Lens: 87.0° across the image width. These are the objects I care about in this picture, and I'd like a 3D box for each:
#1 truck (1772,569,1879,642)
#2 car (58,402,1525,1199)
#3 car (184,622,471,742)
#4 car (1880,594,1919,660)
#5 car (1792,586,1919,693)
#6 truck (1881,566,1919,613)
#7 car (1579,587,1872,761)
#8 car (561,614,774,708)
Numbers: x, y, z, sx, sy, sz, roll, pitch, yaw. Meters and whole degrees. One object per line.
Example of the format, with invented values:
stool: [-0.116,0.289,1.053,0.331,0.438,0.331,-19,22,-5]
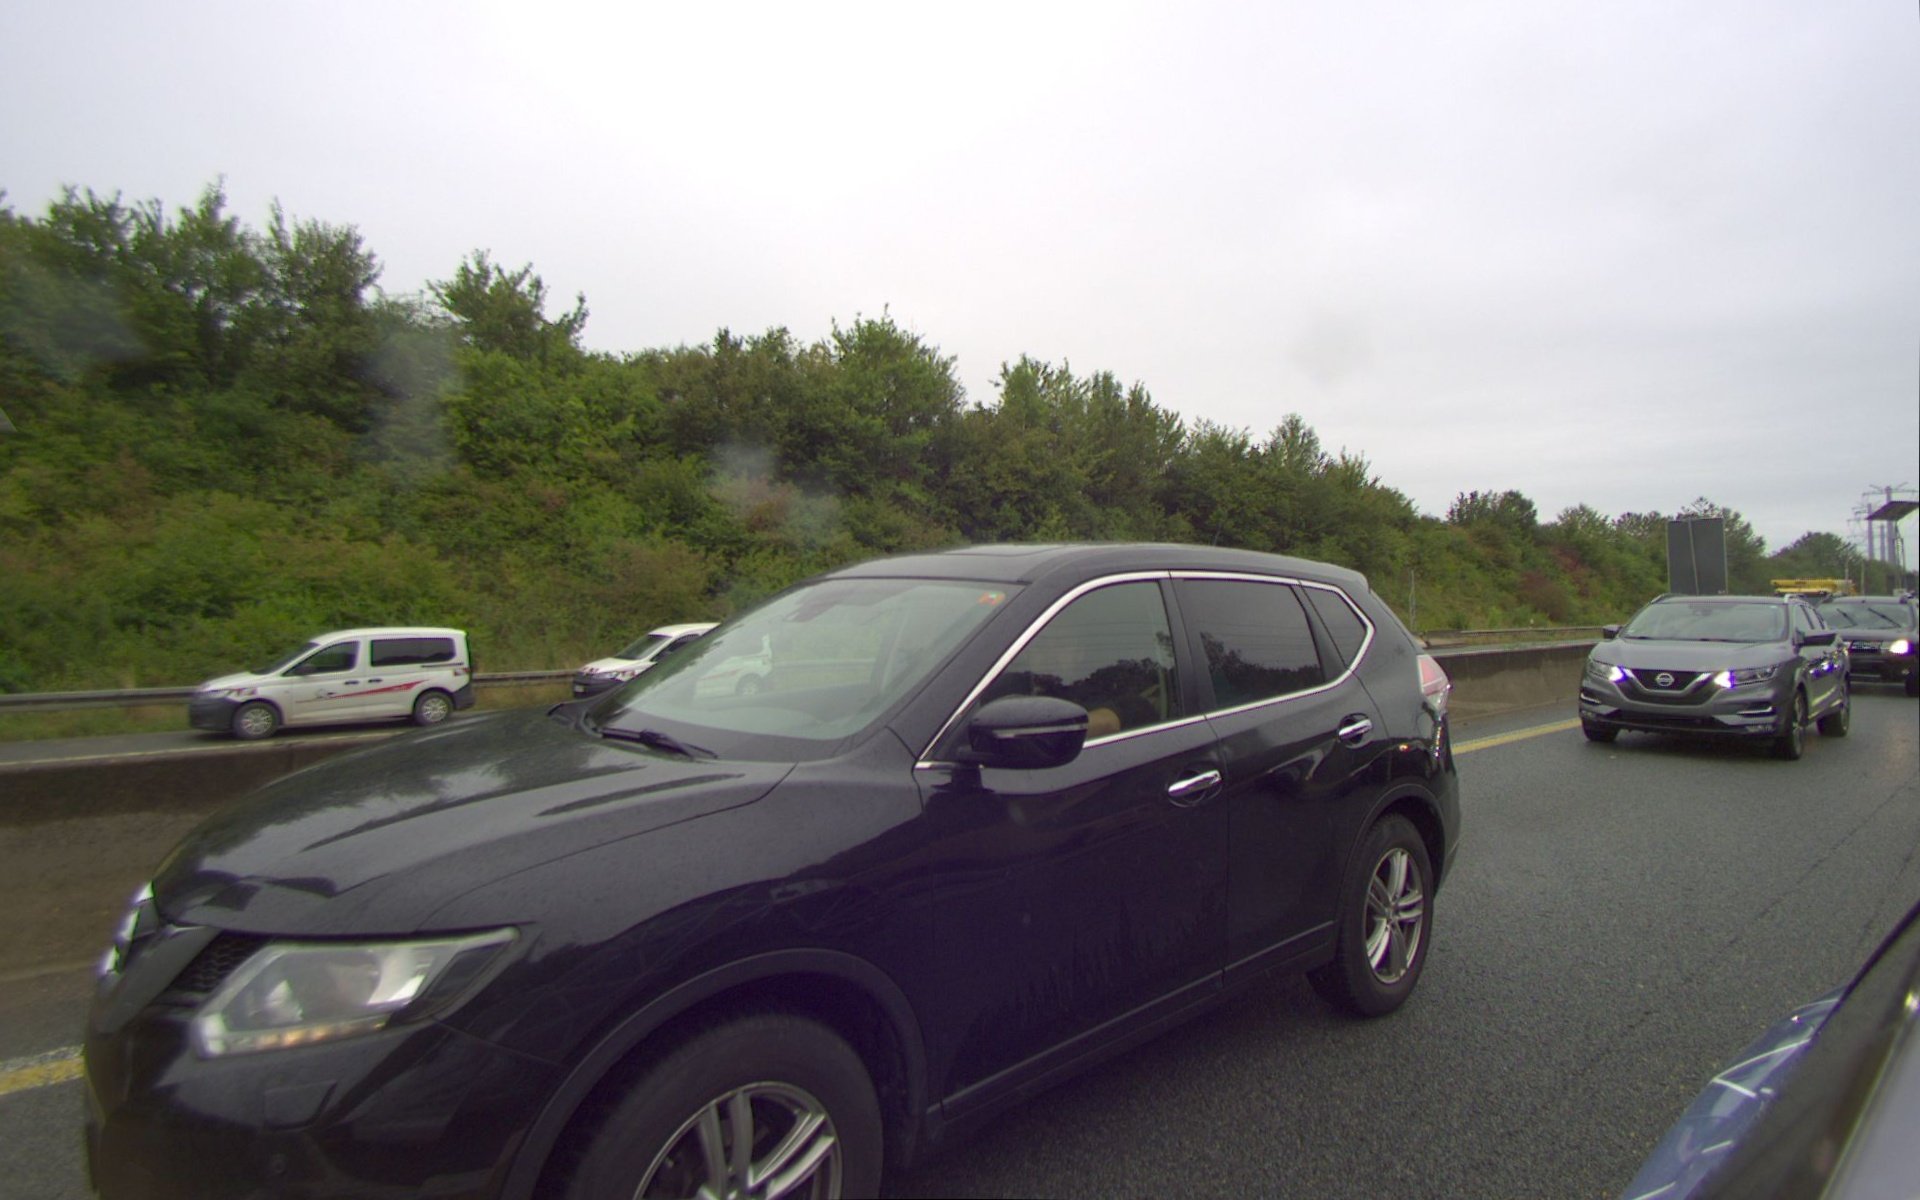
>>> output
truck: [44.577,0.214,51.993,9.405,3.467,2.618,-1,0,-40]
car: [0.039,0.594,3.402,4.561,1.696,1.892,-1,1,-42]
car: [-11.322,1.362,18.292,4.195,1.780,1.731,-1,1,-42]
car: [23.639,0.610,24.400,4.053,1.509,1.782,-1,1,-42]
car: [15.719,0.580,17.257,4.053,1.618,1.782,-1,1,-42]
truck: [73.651,-0.814,77.516,9.405,3.467,3.328,-1,1,-40]
car: [8.315,0.622,10.863,4.053,1.509,1.782,-1,1,-42]
car: [-6.438,1.261,22.568,4.255,1.792,1.731,-1,1,-42]
